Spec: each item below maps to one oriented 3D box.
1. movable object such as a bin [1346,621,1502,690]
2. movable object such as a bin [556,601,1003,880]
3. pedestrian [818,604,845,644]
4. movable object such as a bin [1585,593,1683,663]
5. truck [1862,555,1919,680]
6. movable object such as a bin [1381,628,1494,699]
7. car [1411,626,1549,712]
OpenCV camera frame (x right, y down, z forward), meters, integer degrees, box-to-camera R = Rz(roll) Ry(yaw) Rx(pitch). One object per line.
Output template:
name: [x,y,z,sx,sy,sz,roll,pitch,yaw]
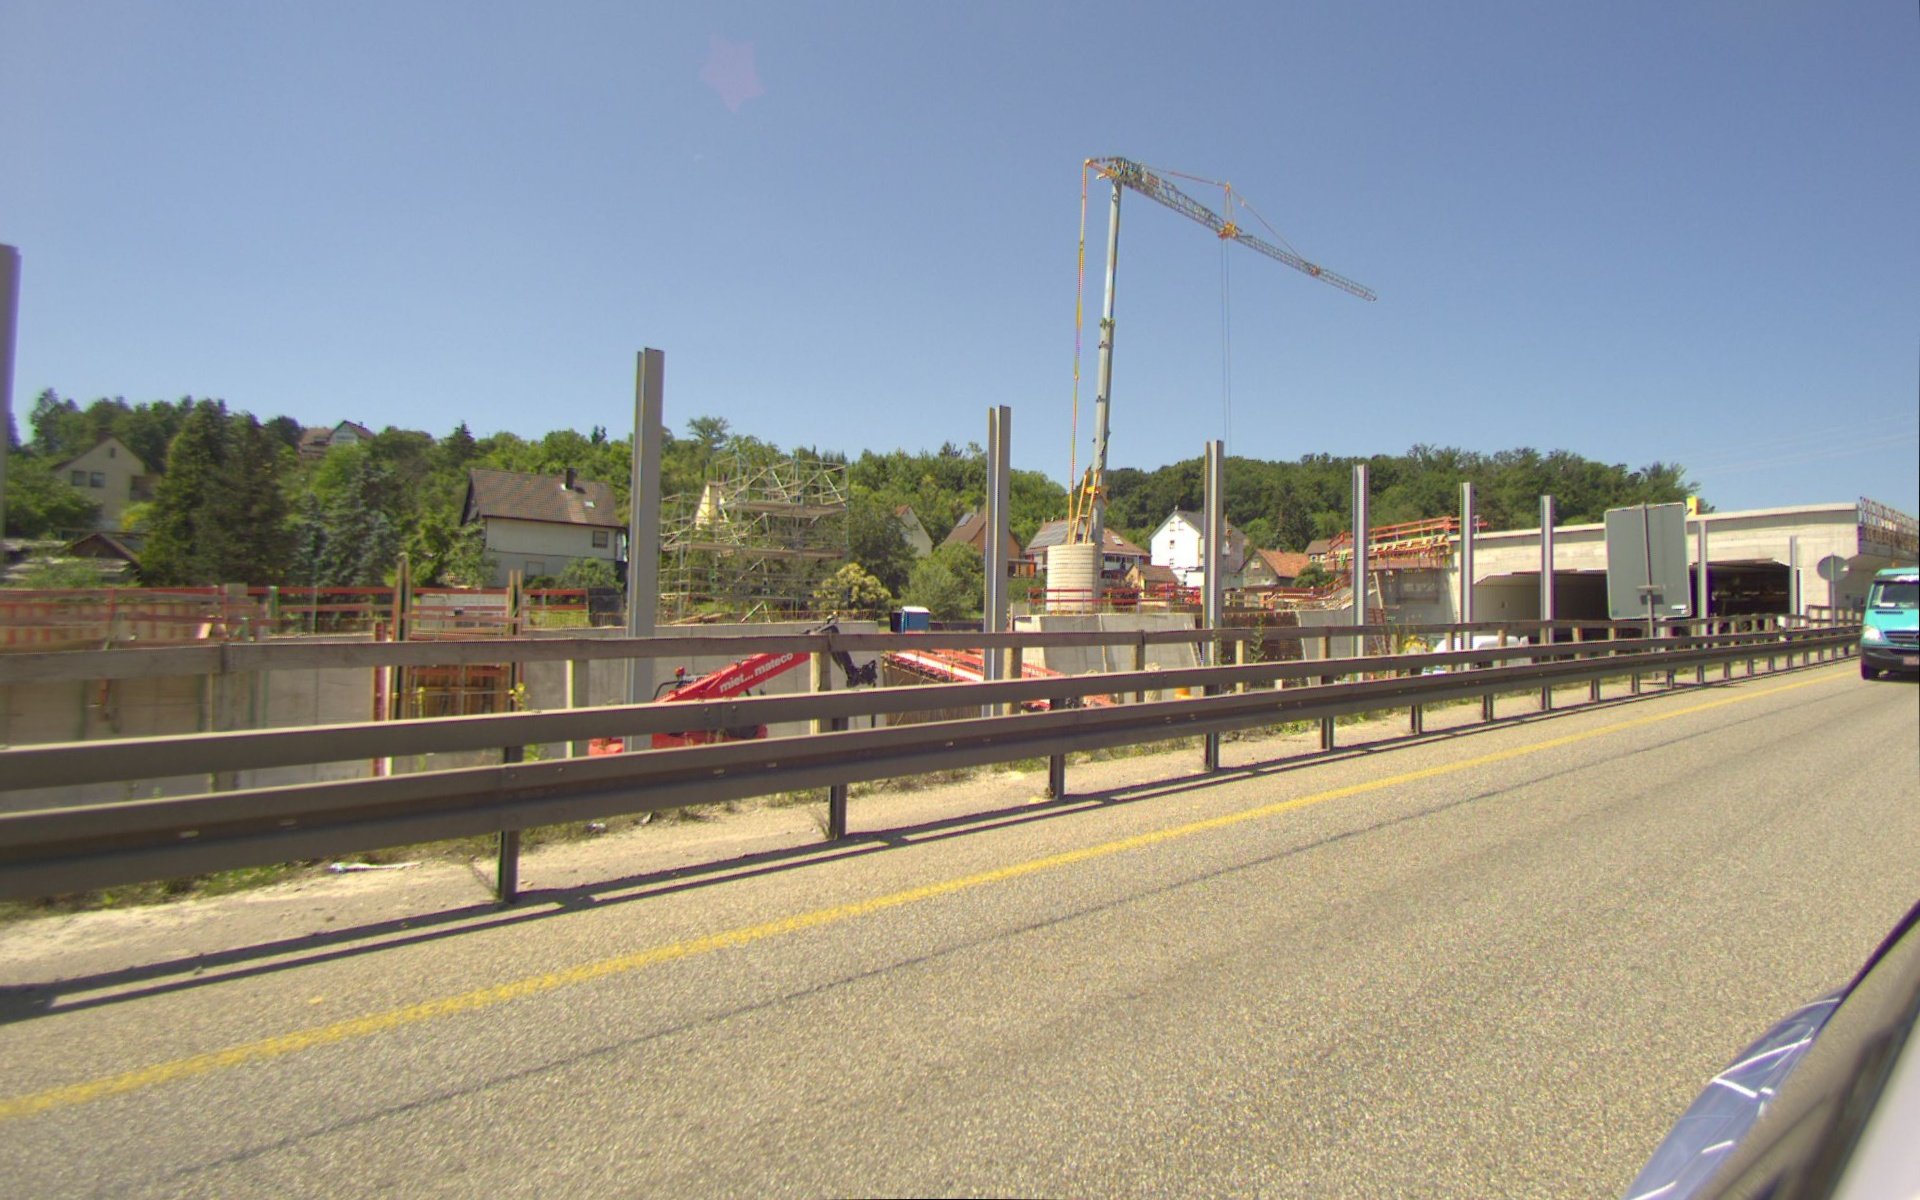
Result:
movable object such as a bin: [24.714,3.057,54.368,3.425,2.941,7.159,-1,-8,-18]
movable object such as a bin: [-3.610,2.536,22.583,9.487,4.802,3.233,-2,1,-41]
pedestrian: [-6.721,1.239,53.021,0.954,2.012,1.140,-1,1,-36]
movable object such as a bin: [43.510,1.654,65.173,8.997,4.113,2.959,-2,1,-41]
truck: [21.214,0.253,21.419,7.302,2.387,2.138,-2,1,-40]
movable object such as a bin: [21.060,2.703,44.563,5.397,2.710,2.151,-1,1,-36]
car: [21.113,2.673,40.942,6.893,2.891,2.151,-1,1,-37]
